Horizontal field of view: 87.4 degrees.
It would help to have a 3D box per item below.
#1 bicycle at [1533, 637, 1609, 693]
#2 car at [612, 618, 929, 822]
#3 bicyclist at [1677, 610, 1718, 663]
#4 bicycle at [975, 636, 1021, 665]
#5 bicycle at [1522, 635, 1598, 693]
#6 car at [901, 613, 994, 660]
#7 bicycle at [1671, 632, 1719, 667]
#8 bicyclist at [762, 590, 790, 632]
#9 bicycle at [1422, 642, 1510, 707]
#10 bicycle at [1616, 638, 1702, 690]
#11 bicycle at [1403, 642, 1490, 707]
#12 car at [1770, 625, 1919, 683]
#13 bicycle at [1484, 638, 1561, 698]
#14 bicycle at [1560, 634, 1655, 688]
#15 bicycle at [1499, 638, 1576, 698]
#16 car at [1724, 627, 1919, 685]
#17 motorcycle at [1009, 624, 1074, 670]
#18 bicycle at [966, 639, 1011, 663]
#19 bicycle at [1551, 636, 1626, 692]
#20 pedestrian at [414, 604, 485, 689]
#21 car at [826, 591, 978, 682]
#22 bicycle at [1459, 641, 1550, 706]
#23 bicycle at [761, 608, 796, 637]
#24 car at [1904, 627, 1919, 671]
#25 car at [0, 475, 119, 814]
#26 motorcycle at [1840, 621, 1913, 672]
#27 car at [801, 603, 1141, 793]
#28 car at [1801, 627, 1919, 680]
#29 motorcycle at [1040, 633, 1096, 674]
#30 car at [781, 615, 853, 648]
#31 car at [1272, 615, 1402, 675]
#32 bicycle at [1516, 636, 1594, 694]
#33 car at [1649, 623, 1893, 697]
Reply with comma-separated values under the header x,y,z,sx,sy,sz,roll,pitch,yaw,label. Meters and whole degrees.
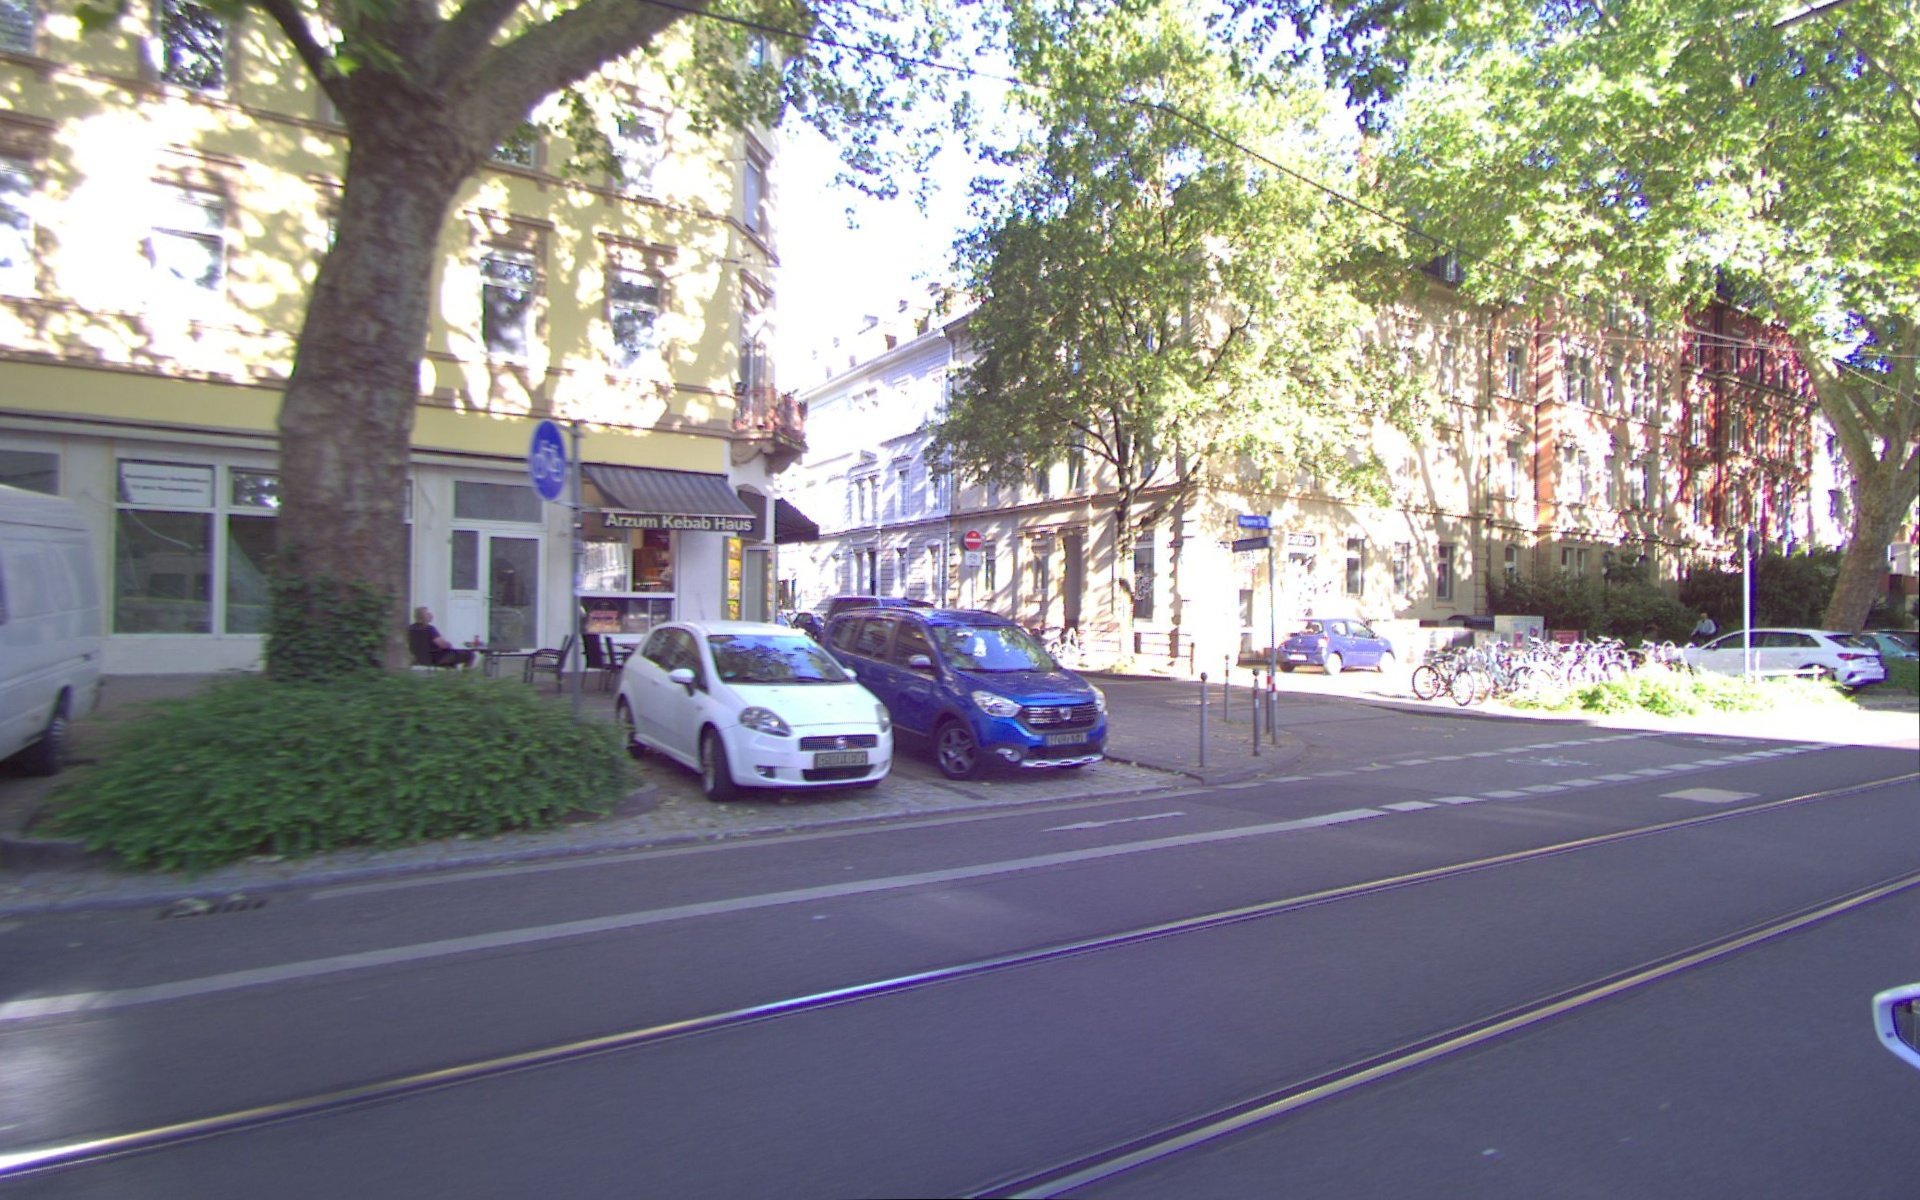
x,y,z,sx,sy,sz,roll,pitch,yaw,label
13.013,1.368,21.436,0.389,1.103,1.559,1,-1,-13,bicycle
-2.032,0.985,9.901,1.730,1.538,3.745,1,-1,-34,car
25.700,1.270,35.007,1.036,1.786,0.826,1,0,-32,bicyclist
1.191,1.560,31.062,1.435,0.871,0.395,1,-1,-30,bicycle
12.408,1.306,20.814,0.389,1.103,1.559,1,-1,-13,bicycle
-0.475,1.194,33.798,1.736,1.483,3.372,1,-1,-30,car
25.612,1.716,35.003,1.760,1.154,0.738,1,0,-32,bicycle
-6.895,0.416,37.586,0.729,1.546,0.861,1,0,-34,bicyclist
9.519,1.376,18.961,0.389,1.103,1.858,1,-1,-13,bicycle
15.680,1.417,22.585,0.586,1.057,1.806,1,-1,-4,bicycle
9.093,1.363,18.851,0.389,1.103,1.858,1,-1,-13,bicycle
25.879,1.512,28.666,1.749,1.479,3.970,1,-1,-29,car
11.180,1.330,20.028,0.389,1.103,1.559,1,-1,-13,bicycle
14.441,1.347,22.464,0.587,1.103,1.920,1,-1,-13,bicycle
11.599,1.345,20.234,0.389,1.103,1.559,1,-1,-13,bicycle
23.687,1.474,27.634,1.586,1.387,3.970,1,-1,-29,car
2.359,1.360,29.022,1.851,1.278,0.586,1,-1,-27,motorcycle
0.900,1.608,31.685,1.435,0.742,0.395,1,-1,-30,bicycle
13.478,1.356,21.585,0.389,1.103,1.559,1,-1,-13,bicycle
-7.811,0.692,15.366,0.919,1.257,0.704,1,0,-30,pedestrian
-1.534,0.844,24.424,2.100,1.905,4.559,4,-2,-25,car
10.327,1.371,19.132,0.389,1.103,1.858,1,-1,-13,bicycle
-6.762,0.813,37.379,0.622,1.045,1.859,1,-1,-33,bicycle
33.822,1.703,33.011,1.684,1.480,3.775,1,0,-30,car
-8.033,0.293,7.199,1.977,2.440,6.569,1,2,-30,car
31.702,1.612,34.737,2.978,1.653,1.046,2,1,-32,motorcycle
-0.090,0.929,11.558,1.798,1.734,4.292,1,-1,-34,car
28.053,1.595,30.153,1.683,1.479,3.970,1,-1,-29,car
3.019,1.471,28.014,1.826,1.086,0.524,2,-1,-45,motorcycle
-6.132,1.325,42.812,1.736,1.322,3.883,1,-1,-30,car
10.145,1.183,26.951,3.454,1.479,1.588,1,-1,-35,car
12.026,1.297,20.346,0.389,1.103,1.559,1,-1,-13,bicycle
18.384,1.314,22.953,1.858,1.479,3.966,3,-2,-31,car
